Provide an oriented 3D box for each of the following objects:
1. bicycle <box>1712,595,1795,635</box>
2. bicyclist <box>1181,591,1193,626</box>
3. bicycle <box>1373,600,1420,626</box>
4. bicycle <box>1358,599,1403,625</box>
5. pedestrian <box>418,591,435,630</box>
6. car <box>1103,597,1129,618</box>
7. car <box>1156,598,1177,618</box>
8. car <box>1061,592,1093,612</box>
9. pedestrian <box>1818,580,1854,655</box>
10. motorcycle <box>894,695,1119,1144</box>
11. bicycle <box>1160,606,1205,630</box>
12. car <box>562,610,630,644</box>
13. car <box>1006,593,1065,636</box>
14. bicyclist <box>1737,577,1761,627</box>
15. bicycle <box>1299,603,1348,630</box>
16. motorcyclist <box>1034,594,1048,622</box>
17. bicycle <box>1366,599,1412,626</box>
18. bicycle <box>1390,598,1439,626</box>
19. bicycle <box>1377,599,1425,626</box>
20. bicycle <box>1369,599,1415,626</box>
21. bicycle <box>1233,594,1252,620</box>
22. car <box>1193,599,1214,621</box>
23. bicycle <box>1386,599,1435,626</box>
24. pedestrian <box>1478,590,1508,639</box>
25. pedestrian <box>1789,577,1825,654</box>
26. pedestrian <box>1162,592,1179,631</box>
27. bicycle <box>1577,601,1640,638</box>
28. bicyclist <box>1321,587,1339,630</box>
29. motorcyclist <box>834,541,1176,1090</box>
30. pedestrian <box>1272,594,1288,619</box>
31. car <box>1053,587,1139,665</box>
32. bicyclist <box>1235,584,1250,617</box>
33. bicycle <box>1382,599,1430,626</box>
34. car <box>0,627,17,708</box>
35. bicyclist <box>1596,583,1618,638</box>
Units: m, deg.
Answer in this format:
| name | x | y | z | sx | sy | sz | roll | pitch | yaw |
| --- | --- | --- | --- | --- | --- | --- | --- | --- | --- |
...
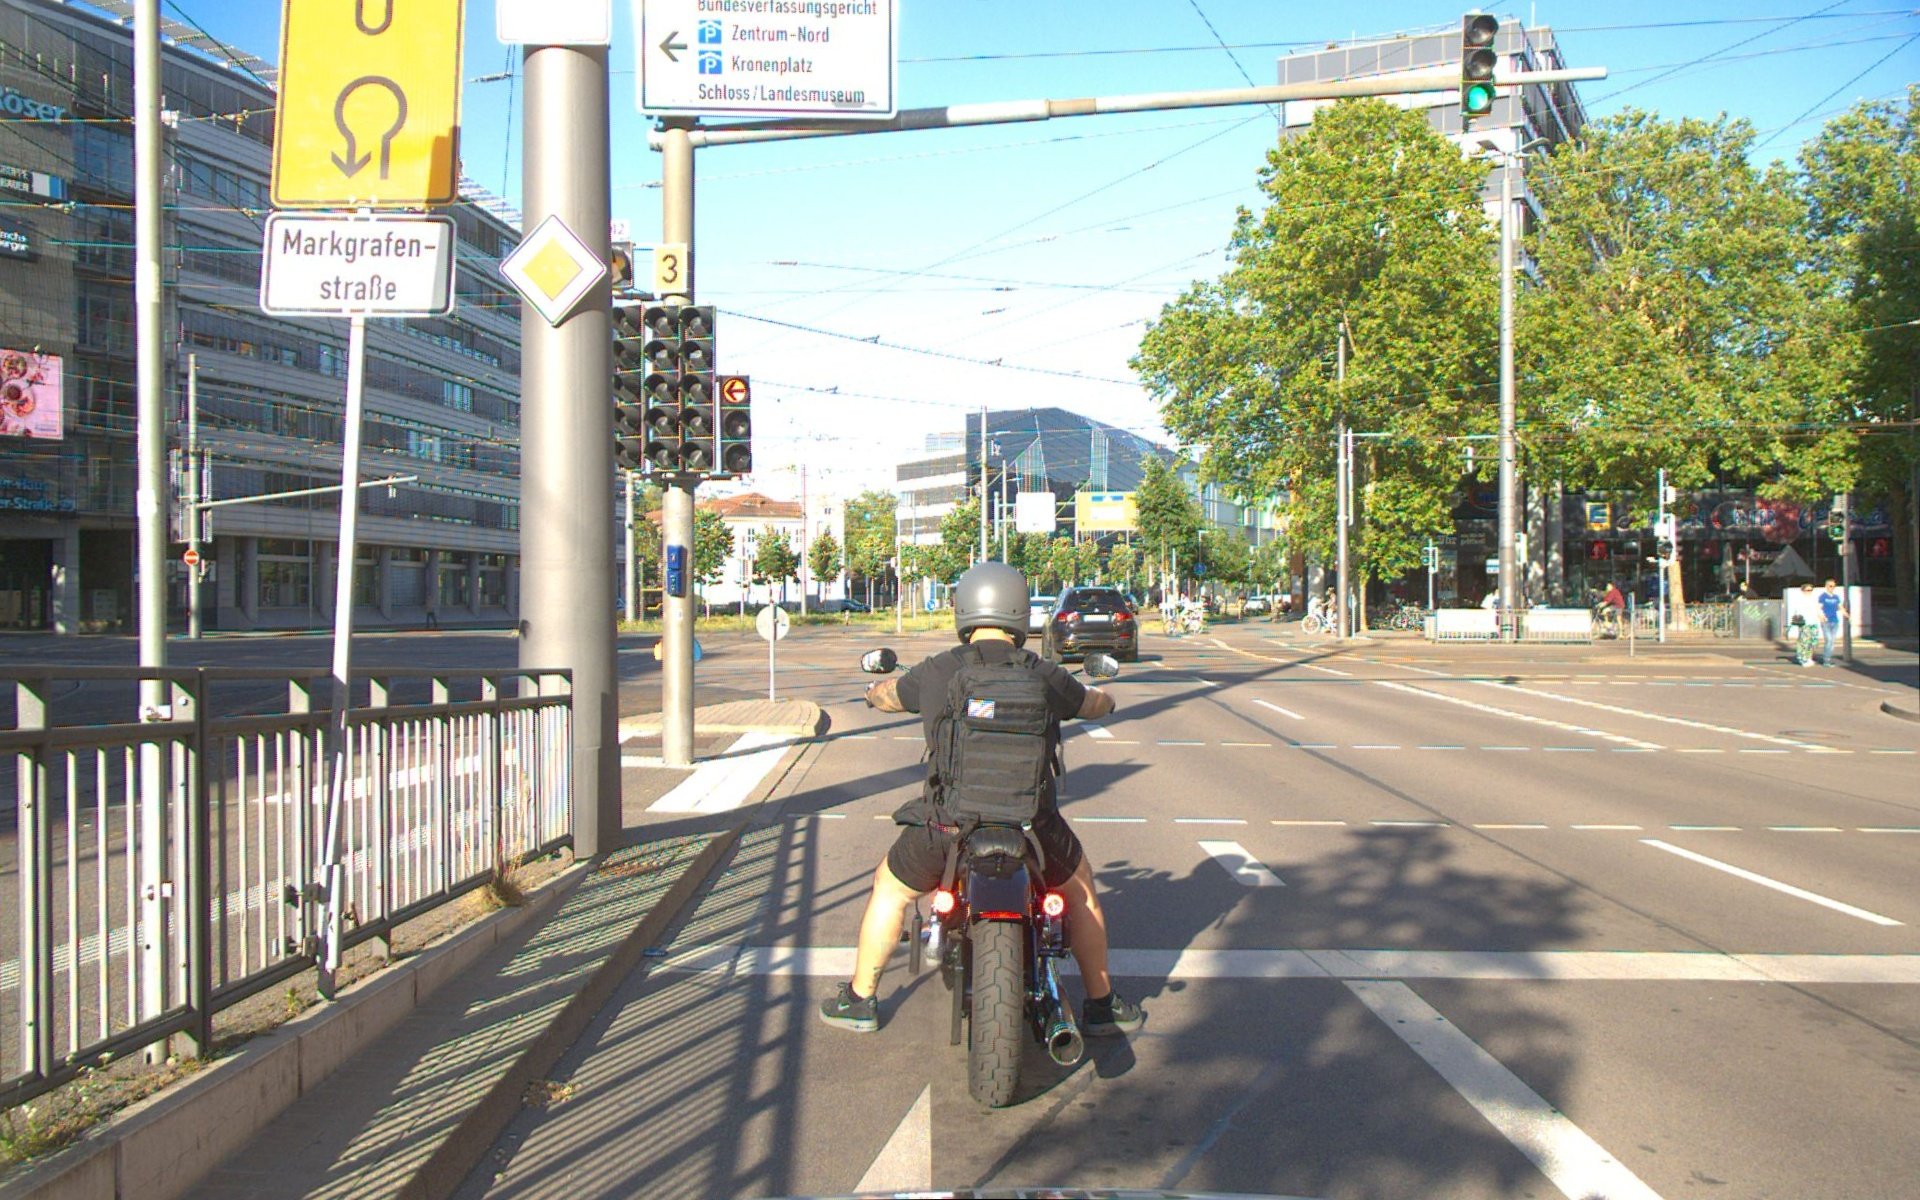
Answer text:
| name | x | y | z | sx | sy | sz | roll | pitch | yaw |
| --- | --- | --- | --- | --- | --- | --- | --- | --- | --- |
| bicycle | 24.493 | 0.452 | 51.087 | 2.274 | 1.199 | 0.568 | 1 | -1 | 22 |
| bicyclist | 9.232 | 0.354 | 67.253 | 0.374 | 1.397 | 0.344 | 1 | -1 | -9 |
| bicycle | 18.147 | 0.536 | 68.771 | 1.842 | 1.065 | 0.360 | 1 | -1 | -2 |
| bicycle | 18.038 | 0.525 | 70.906 | 1.842 | 1.064 | 0.360 | 1 | 0 | -2 |
| pedestrian | -28.725 | 0.557 | 89.055 | 0.617 | 2.049 | 0.754 | 1 | -1 | -1 |
| car | 13.056 | 0.626 | 137.931 | 1.765 | 1.708 | 4.044 | 1 | -1 | 11 |
| car | 19.216 | 0.753 | 153.921 | 1.692 | 1.870 | 3.578 | 1 | -1 | 12 |
| car | 8.598 | 0.113 | 121.683 | 1.765 | 1.455 | 4.457 | 0 | 0 | 12 |
| pedestrian | 18.037 | 0.359 | 34.068 | 0.554 | 1.505 | 0.702 | 1 | -1 | 20 |
| motorcycle | 0.108 | 0.922 | 5.555 | 0.588 | 1.054 | 2.233 | 1 | 0 | -1 |
| bicycle | 9.029 | 0.716 | 67.190 | 1.792 | 0.942 | 0.357 | 1 | -1 | -9 |
| car | -17.184 | 1.272 | 78.281 | 1.712 | 1.550 | 4.003 | 1 | -1 | 11 |
| car | 2.689 | 0.491 | 59.470 | 1.767 | 1.455 | 4.451 | 0 | 0 | -2 |
| bicyclist | 24.392 | 0.063 | 51.128 | 0.619 | 1.545 | 0.567 | 1 | -1 | 23 |
| bicycle | 14.387 | 0.666 | 65.445 | 1.831 | 1.062 | 0.537 | 0 | -1 | 18 |
| motorcyclist | 4.672 | 0.447 | 95.415 | 0.779 | 1.607 | 0.529 | 1 | -1 | 5 |
| bicycle | 18.077 | 0.524 | 69.755 | 1.842 | 1.064 | 0.360 | 1 | 0 | -2 |
| bicycle | 18.134 | 0.473 | 65.985 | 1.842 | 1.065 | 0.360 | 1 | -1 | -2 |
| bicycle | 18.167 | 0.531 | 68.140 | 1.842 | 1.064 | 0.360 | 1 | 0 | -2 |
| bicycle | 18.086 | 0.526 | 69.255 | 1.842 | 1.064 | 0.360 | 1 | 0 | -2 |
| bicycle | 15.628 | 0.379 | 91.592 | 0.710 | 1.391 | 2.918 | 1 | -1 | 3 |
| car | 20.736 | 0.856 | 140.935 | 1.497 | 1.870 | 3.578 | 1 | -1 | 12 |
| bicycle | 18.183 | 0.493 | 66.769 | 1.842 | 1.065 | 0.360 | 1 | -1 | -2 |
| pedestrian | 19.194 | 0.516 | 59.580 | 0.816 | 1.734 | 0.759 | 1 | -1 | -1 |
| pedestrian | 17.411 | 0.316 | 34.015 | 0.554 | 1.559 | 0.702 | 1 | -1 | 20 |
| pedestrian | 8.757 | 0.484 | 68.851 | 0.576 | 1.584 | 0.488 | 1 | -1 | -9 |
| bicycle | 22.306 | 0.678 | 56.878 | 2.001 | 1.235 | 0.421 | 1 | -1 | -1 |
| bicyclist | 14.627 | 0.343 | 65.373 | 0.673 | 1.702 | 0.541 | 0 | -1 | 18 |
| motorcyclist | 0.128 | 0.635 | 5.344 | 1.009 | 1.621 | 0.873 | 0 | 0 | -1 |
| pedestrian | 17.571 | 0.361 | 90.881 | 0.802 | 1.337 | 0.638 | 1 | -1 | 8 |
| car | 3.069 | 0.535 | 36.743 | 1.765 | 1.623 | 4.456 | 0 | 0 | 6 |
| bicyclist | 15.620 | 0.028 | 91.453 | 0.682 | 1.840 | 0.729 | 1 | -1 | 3 |
| bicycle | 18.215 | 0.515 | 67.585 | 1.842 | 1.065 | 0.360 | 1 | -1 | -2 |
| car | -14.542 | 0.904 | 22.449 | 2.835 | 1.081 | 1.235 | 1 | -1 | -22 |
| bicyclist | 22.266 | 0.363 | 56.917 | 0.572 | 1.870 | 0.402 | 1 | -1 | -1 |
